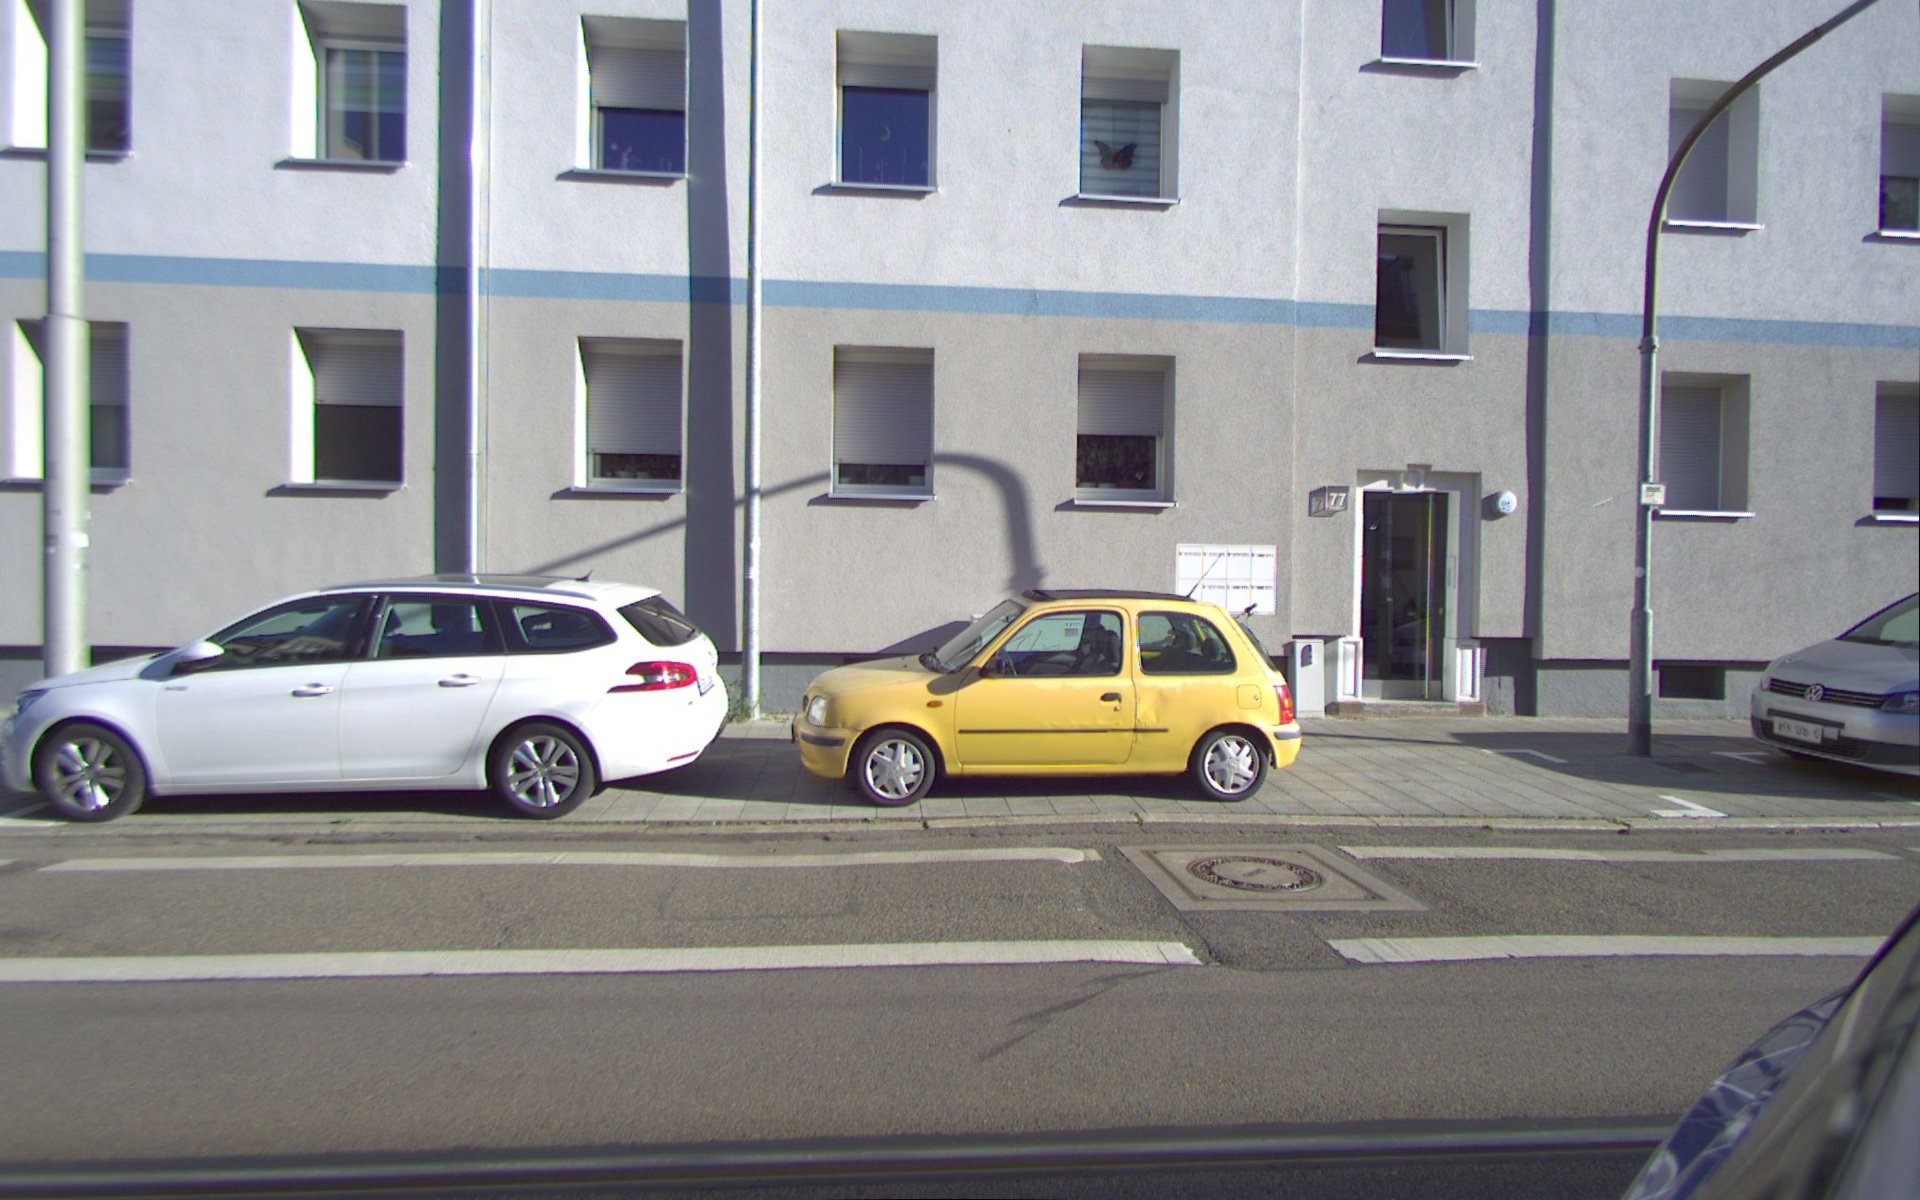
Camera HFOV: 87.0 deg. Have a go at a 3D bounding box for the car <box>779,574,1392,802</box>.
[{"bbox_3d":[0.810,0.556,7.475,4.117,1.448,1.521,0,2,-5],"label":"car"}]

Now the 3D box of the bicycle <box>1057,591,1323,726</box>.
[{"bbox_3d":[2.189,0.545,9.888,2.280,1.212,1.101,1,1,-6],"label":"bicycle"}]

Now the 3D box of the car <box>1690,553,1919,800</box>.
[{"bbox_3d":[8.690,0.513,8.124,4.532,1.686,1.764,1,3,-7],"label":"car"}]

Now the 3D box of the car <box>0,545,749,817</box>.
[{"bbox_3d":[-3.784,0.461,6.903,4.419,1.590,1.688,1,3,-5],"label":"car"}]
